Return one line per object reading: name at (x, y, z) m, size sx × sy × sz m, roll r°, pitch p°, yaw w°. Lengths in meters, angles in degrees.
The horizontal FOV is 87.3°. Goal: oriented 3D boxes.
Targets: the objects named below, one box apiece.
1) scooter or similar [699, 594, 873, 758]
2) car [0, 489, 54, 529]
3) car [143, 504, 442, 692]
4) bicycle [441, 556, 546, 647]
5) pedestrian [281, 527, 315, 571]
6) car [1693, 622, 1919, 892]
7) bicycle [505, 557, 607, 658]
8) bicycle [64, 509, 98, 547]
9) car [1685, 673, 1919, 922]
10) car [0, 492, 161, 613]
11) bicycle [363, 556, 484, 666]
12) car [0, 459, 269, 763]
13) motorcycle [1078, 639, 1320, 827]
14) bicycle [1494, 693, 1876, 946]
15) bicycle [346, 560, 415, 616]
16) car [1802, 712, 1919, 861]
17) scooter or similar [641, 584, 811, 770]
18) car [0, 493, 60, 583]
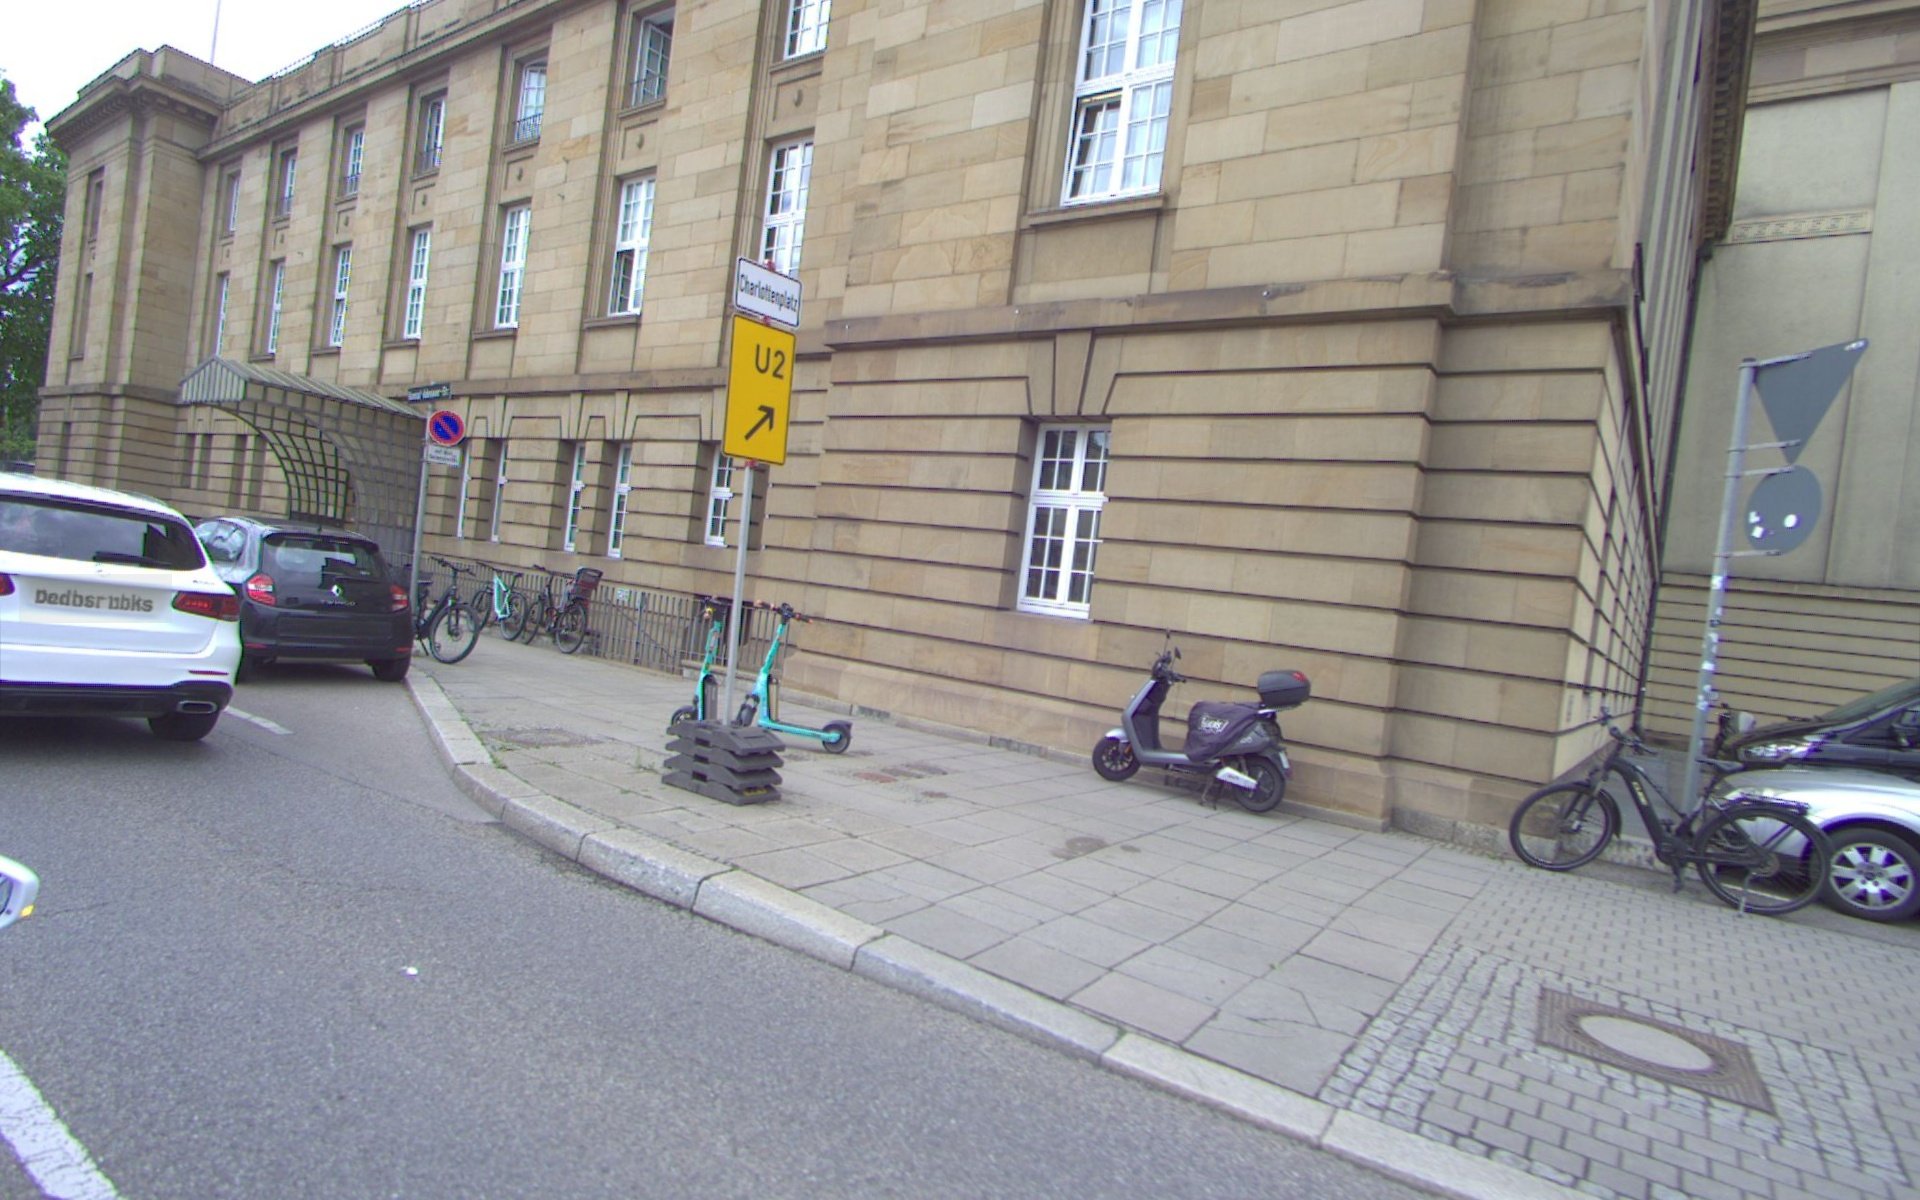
scooter or similar at (-1.539, 0.655, 8.942) m, size 1.343 × 1.268 × 0.452 m, roll 6°, pitch 0°, yaw 15°
car at (-45.533, -4.469, 47.441) m, size 1.653 × 1.587 × 3.838 m, roll 7°, pitch -1°, yaw 36°
car at (-7.289, -0.089, 10.866) m, size 3.652 × 1.573 × 1.543 m, roll 7°, pitch 3°, yaw 38°
bicycle at (-7.501, 0.006, 16.127) m, size 1.886 × 1.232 × 0.555 m, roll 7°, pitch 0°, yaw 36°
pedestrian at (-14.623, -1.125, 22.213) m, size 0.367 × 0.883 × 0.429 m, roll 7°, pitch -2°, yaw 36°
car at (9.465, 1.600, 8.628) m, size 4.837 × 2.093 × 1.950 m, roll 8°, pitch -1°, yaw 34°
bicycle at (-6.064, 0.093, 15.057) m, size 1.762 × 1.304 × 0.412 m, roll 7°, pitch 0°, yaw 36°
bicycle at (-25.821, -2.120, 29.551) m, size 1.932 × 1.010 × 0.240 m, roll 7°, pitch 0°, yaw 35°
car at (7.821, 1.603, 6.819) m, size 4.501 × 1.486 × 1.780 m, roll 8°, pitch -1°, yaw 34°
car at (-13.676, -0.781, 15.054) m, size 3.797 × 1.473 × 1.616 m, roll 7°, pitch 1°, yaw 35°
bicycle at (-6.740, 0.121, 12.603) m, size 1.802 × 1.171 × 0.460 m, roll 7°, pitch 0°, yaw 34°
car at (-6.813, -0.115, 6.900) m, size 4.365 × 1.644 × 1.790 m, roll 7°, pitch -1°, yaw 33°
motorcycle at (1.997, 1.082, 8.625) m, size 1.894 × 1.258 × 0.454 m, roll 7°, pitch 1°, yaw 39°
bicycle at (4.855, 1.414, 6.918) m, size 1.930 × 1.241 × 0.609 m, roll 7°, pitch 3°, yaw 33°
bicycle at (-10.591, -0.238, 18.371) m, size 1.850 × 0.854 × 0.306 m, roll 6°, pitch -2°, yaw 37°
car at (11.352, 2.197, 10.557) m, size 3.559 × 1.429 × 1.645 m, roll 8°, pitch -1°, yaw 34°
scooter or similar at (-1.902, 0.586, 8.090) m, size 1.381 × 1.277 × 0.379 m, roll 7°, pitch 0°, yaw 35°
car at (-17.811, -1.259, 17.923) m, size 3.933 × 1.444 × 1.709 m, roll 7°, pitch 0°, yaw 35°
